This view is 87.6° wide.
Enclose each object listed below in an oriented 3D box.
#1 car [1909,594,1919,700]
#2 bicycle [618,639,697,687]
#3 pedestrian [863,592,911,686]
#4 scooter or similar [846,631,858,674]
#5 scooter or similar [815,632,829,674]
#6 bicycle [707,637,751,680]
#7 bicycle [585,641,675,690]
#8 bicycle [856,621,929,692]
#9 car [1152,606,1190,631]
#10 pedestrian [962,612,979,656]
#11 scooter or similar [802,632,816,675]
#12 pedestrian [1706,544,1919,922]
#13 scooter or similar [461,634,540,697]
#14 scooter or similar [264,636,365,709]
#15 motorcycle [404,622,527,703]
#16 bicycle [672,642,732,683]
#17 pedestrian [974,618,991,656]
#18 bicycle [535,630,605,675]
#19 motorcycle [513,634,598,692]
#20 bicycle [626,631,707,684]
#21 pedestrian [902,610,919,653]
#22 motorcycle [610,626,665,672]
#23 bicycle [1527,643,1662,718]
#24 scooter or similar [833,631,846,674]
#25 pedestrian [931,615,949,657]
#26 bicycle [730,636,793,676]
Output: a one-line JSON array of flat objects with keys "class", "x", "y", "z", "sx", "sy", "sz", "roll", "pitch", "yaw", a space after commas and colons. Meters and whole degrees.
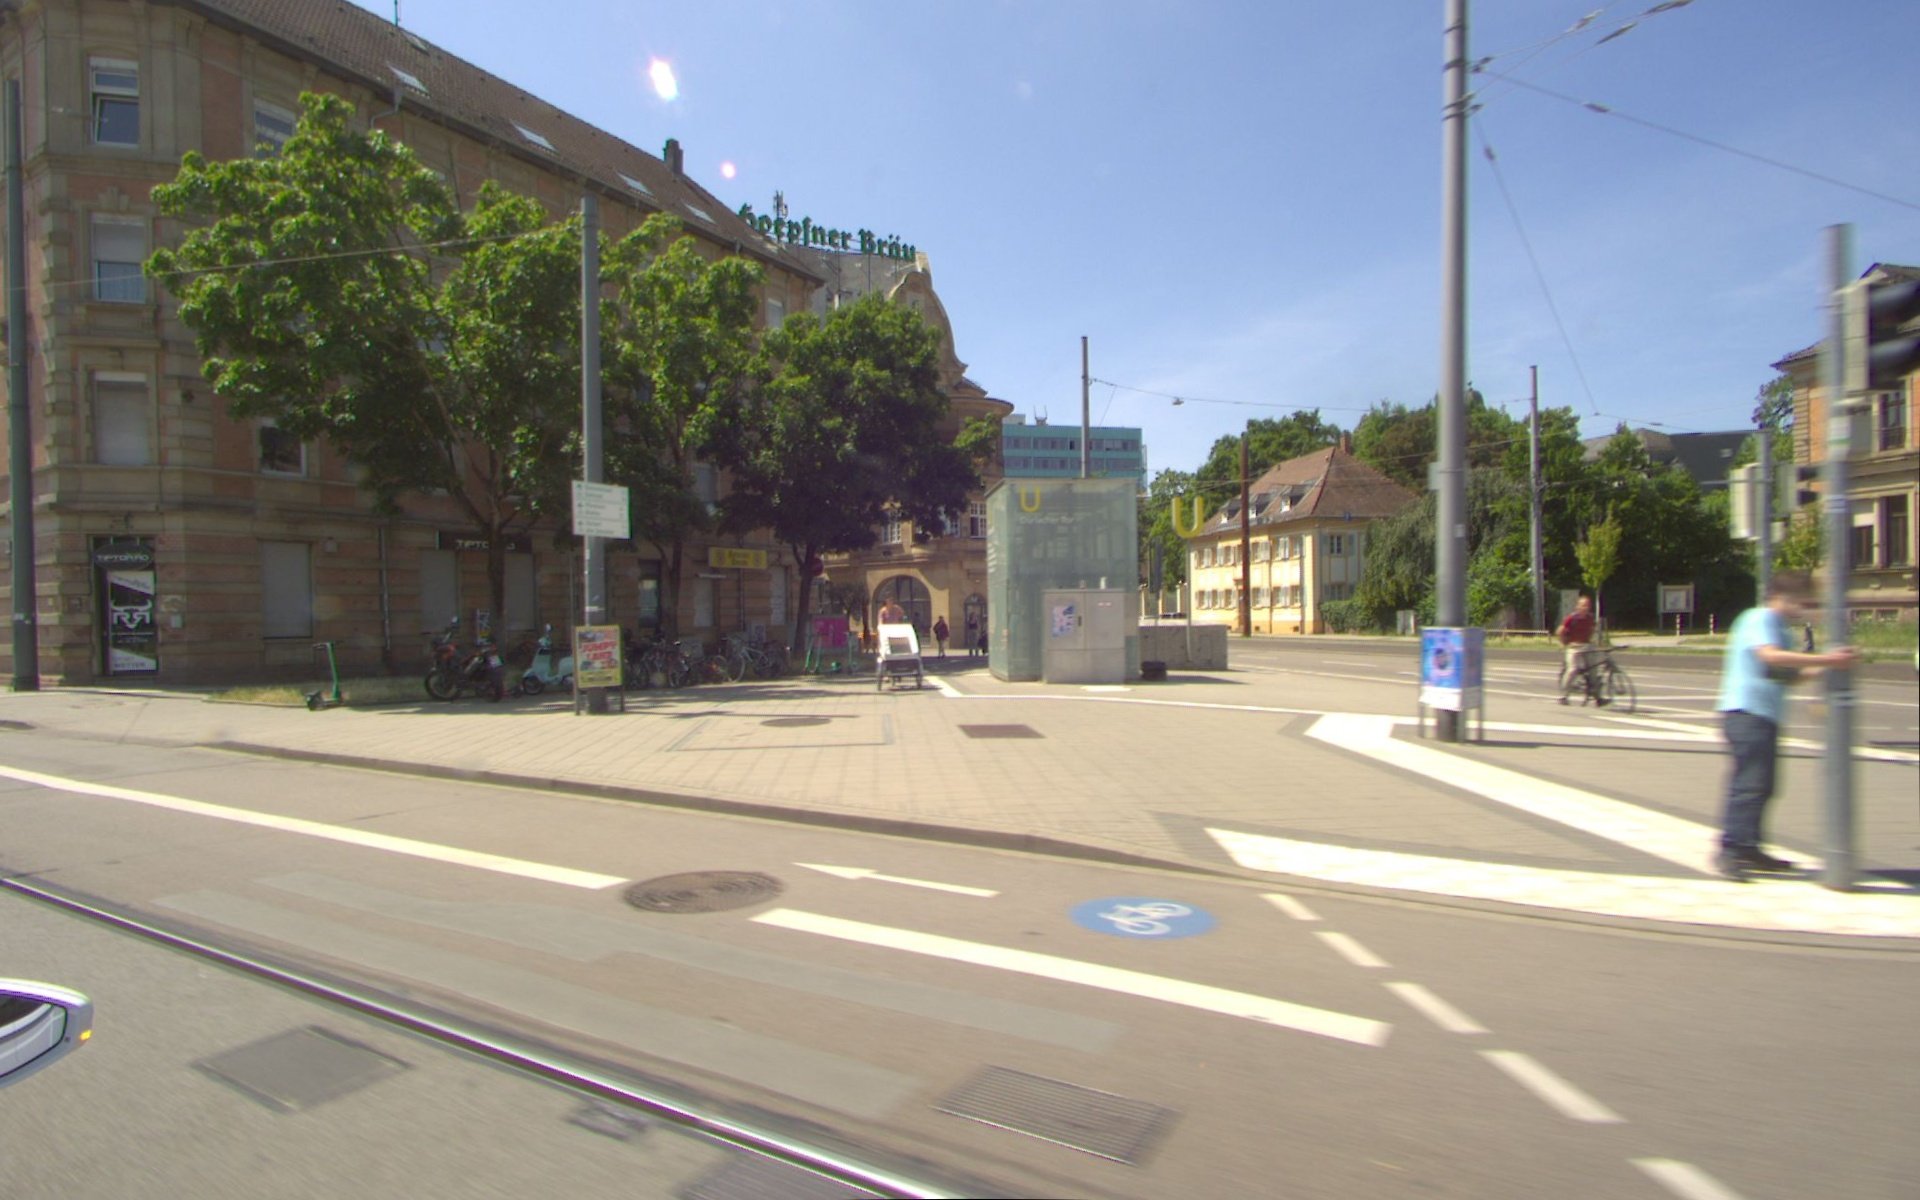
[{"class": "car", "x": 15.867, "y": 0.681, "z": 13.618, "sx": 1.675, "sy": 1.626, "sz": 4.175, "roll": -1, "pitch": -1, "yaw": -7}, {"class": "bicycle", "x": -6.595, "y": 1.358, "z": 21.786, "sx": 1.814, "sy": 0.978, "sz": 0.643, "roll": -1, "pitch": 0, "yaw": 35}, {"class": "pedestrian", "x": -1.459, "y": 0.772, "z": 19.976, "sx": 0.799, "sy": 1.798, "sz": 0.824, "roll": -1, "pitch": -1, "yaw": -12}, {"class": "scooter or similar", "x": -2.956, "y": 1.426, "z": 27.416, "sx": 0.263, "sy": 1.140, "sz": 0.987, "roll": -1, "pitch": 0, "yaw": -2}, {"class": "scooter or similar", "x": -3.785, "y": 1.445, "z": 27.512, "sx": 0.263, "sy": 1.140, "sz": 0.987, "roll": -1, "pitch": 0, "yaw": -2}, {"class": "bicycle", "x": -5.697, "y": 1.418, "z": 24.671, "sx": 0.452, "sy": 1.005, "sz": 1.416, "roll": -1, "pitch": 0, "yaw": -41}, {"class": "bicycle", "x": -7.007, "y": 1.359, "z": 21.210, "sx": 2.052, "sy": 0.978, "sz": 0.644, "roll": -1, "pitch": 0, "yaw": 32}, {"class": "bicycle", "x": -1.348, "y": 1.050, "z": 19.456, "sx": 1.079, "sy": 1.267, "sz": 2.219, "roll": -1, "pitch": -1, "yaw": -12}, {"class": "car", "x": 15.909, "y": 1.409, "z": 75.684, "sx": 1.610, "sy": 1.806, "sz": 3.479, "roll": -1, "pitch": -1, "yaw": -9}, {"class": "pedestrian", "x": 0.410, "y": 1.328, "z": 39.423, "sx": 0.602, "sy": 1.721, "sz": 0.585, "roll": -1, "pitch": 0, "yaw": -8}, {"class": "scooter or similar", "x": -4.158, "y": 1.455, "z": 27.595, "sx": 0.263, "sy": 1.140, "sz": 0.987, "roll": -1, "pitch": 0, "yaw": -2}, {"class": "pedestrian", "x": 4.709, "y": 0.645, "z": 5.352, "sx": 0.797, "sy": 1.803, "sz": 0.871, "roll": -1, "pitch": 0, "yaw": -26}, {"class": "scooter or similar", "x": -8.896, "y": 1.263, "z": 19.371, "sx": 1.356, "sy": 1.166, "sz": 0.601, "roll": -2, "pitch": -1, "yaw": 22}, {"class": "scooter or similar", "x": -11.129, "y": 1.223, "z": 17.324, "sx": 0.701, "sy": 1.170, "sz": 1.525, "roll": -1, "pitch": -1, "yaw": 3}, {"class": "motorcycle", "x": -9.008, "y": 1.115, "z": 18.198, "sx": 2.559, "sy": 1.380, "sz": 0.762, "roll": -2, "pitch": -1, "yaw": 32}, {"class": "bicycle", "x": -6.074, "y": 1.464, "z": 23.559, "sx": 1.407, "sy": 0.917, "sz": 0.455, "roll": -1, "pitch": 0, "yaw": 28}, {"class": "pedestrian", "x": 0.861, "y": 1.436, "z": 38.747, "sx": 0.574, "sy": 1.462, "sz": 0.614, "roll": -1, "pitch": 0, "yaw": -8}, {"class": "bicycle", "x": -10.981, "y": 1.472, "z": 28.253, "sx": 0.703, "sy": 1.193, "sz": 1.876, "roll": -1, "pitch": -1, "yaw": 25}, {"class": "motorcycle", "x": -8.172, "y": 1.268, "z": 20.212, "sx": 1.723, "sy": 1.110, "sz": 0.689, "roll": -2, "pitch": -1, "yaw": 32}, {"class": "bicycle", "x": -6.621, "y": 1.283, "z": 22.577, "sx": 1.810, "sy": 1.161, "sz": 0.645, "roll": -1, "pitch": 0, "yaw": 28}, {"class": "pedestrian", "x": -1.996, "y": 1.257, "z": 40.092, "sx": 0.602, "sy": 1.721, "sz": 0.585, "roll": -1, "pitch": 0, "yaw": -9}, {"class": "motorcycle", "x": -9.548, "y": 1.427, "z": 29.714, "sx": 0.495, "sy": 1.307, "sz": 1.638, "roll": -1, "pitch": 0, "yaw": 30}, {"class": "bicycle", "x": 9.752, "y": 1.202, "z": 15.495, "sx": 0.712, "sy": 1.018, "sz": 2.020, "roll": -1, "pitch": -1, "yaw": -3}, {"class": "scooter or similar", "x": -3.312, "y": 1.436, "z": 27.588, "sx": 0.263, "sy": 1.140, "sz": 0.987, "roll": -1, "pitch": 0, "yaw": -2}, {"class": "pedestrian", "x": -0.783, "y": 1.394, "z": 38.791, "sx": 0.602, "sy": 1.617, "sz": 0.601, "roll": -1, "pitch": 0, "yaw": -8}, {"class": "bicycle", "x": -5.099, "y": 1.442, "z": 25.748, "sx": 1.541, "sy": 1.005, "sz": 0.503, "roll": -1, "pitch": 0, "yaw": 17}]
